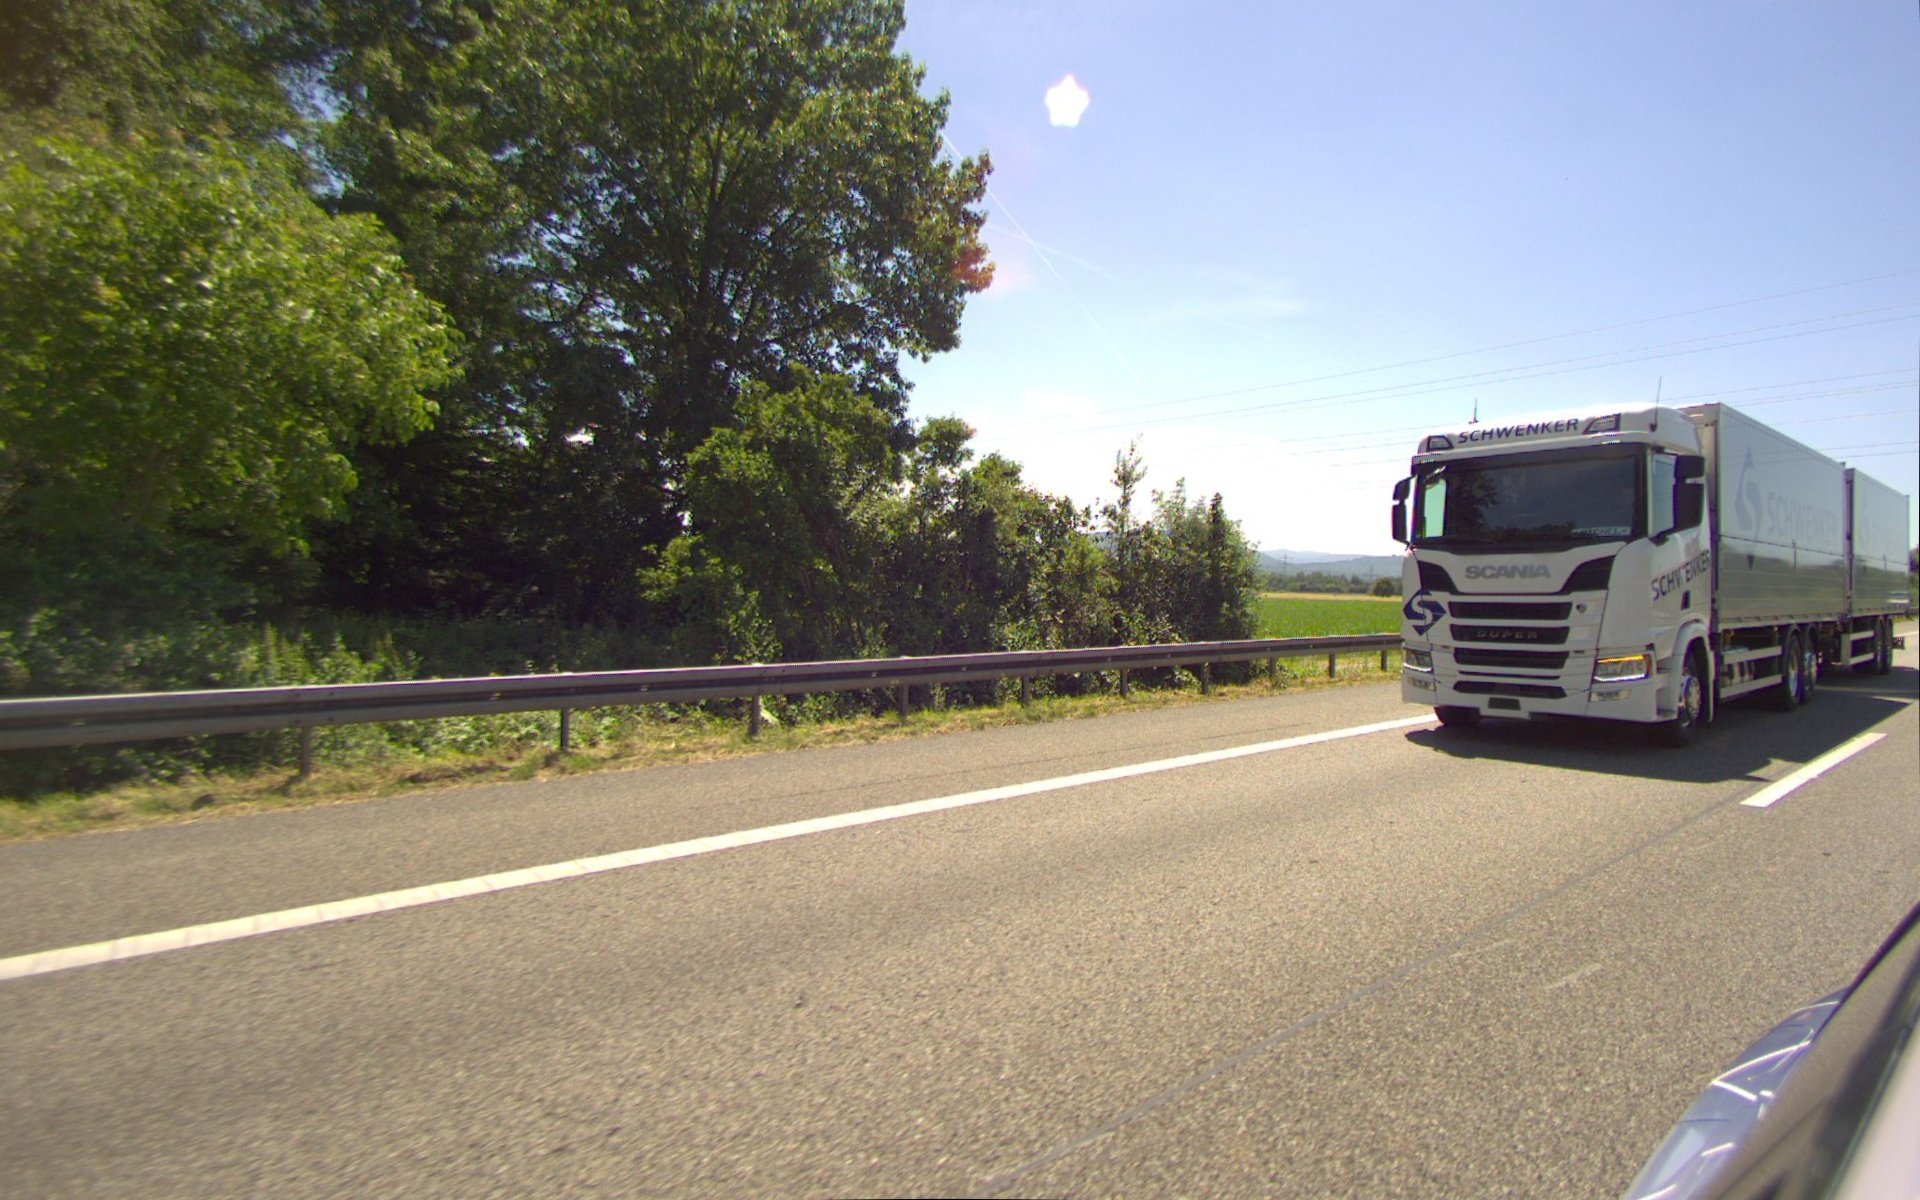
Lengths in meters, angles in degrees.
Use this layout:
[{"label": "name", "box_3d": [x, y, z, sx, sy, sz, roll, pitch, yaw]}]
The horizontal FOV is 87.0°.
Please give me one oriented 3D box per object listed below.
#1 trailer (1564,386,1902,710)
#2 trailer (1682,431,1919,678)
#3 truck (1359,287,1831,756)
[{"label": "trailer", "box_3d": [12.614, -0.697, 16.249, 7.190, 4.092, 2.924, -1, 0, -41]}, {"label": "trailer", "box_3d": [17.596, -0.806, 20.605, 7.987, 4.114, 2.950, -1, 0, -41]}, {"label": "truck", "box_3d": [7.848, -0.725, 12.107, 6.749, 4.081, 2.894, -1, 0, -41]}]
